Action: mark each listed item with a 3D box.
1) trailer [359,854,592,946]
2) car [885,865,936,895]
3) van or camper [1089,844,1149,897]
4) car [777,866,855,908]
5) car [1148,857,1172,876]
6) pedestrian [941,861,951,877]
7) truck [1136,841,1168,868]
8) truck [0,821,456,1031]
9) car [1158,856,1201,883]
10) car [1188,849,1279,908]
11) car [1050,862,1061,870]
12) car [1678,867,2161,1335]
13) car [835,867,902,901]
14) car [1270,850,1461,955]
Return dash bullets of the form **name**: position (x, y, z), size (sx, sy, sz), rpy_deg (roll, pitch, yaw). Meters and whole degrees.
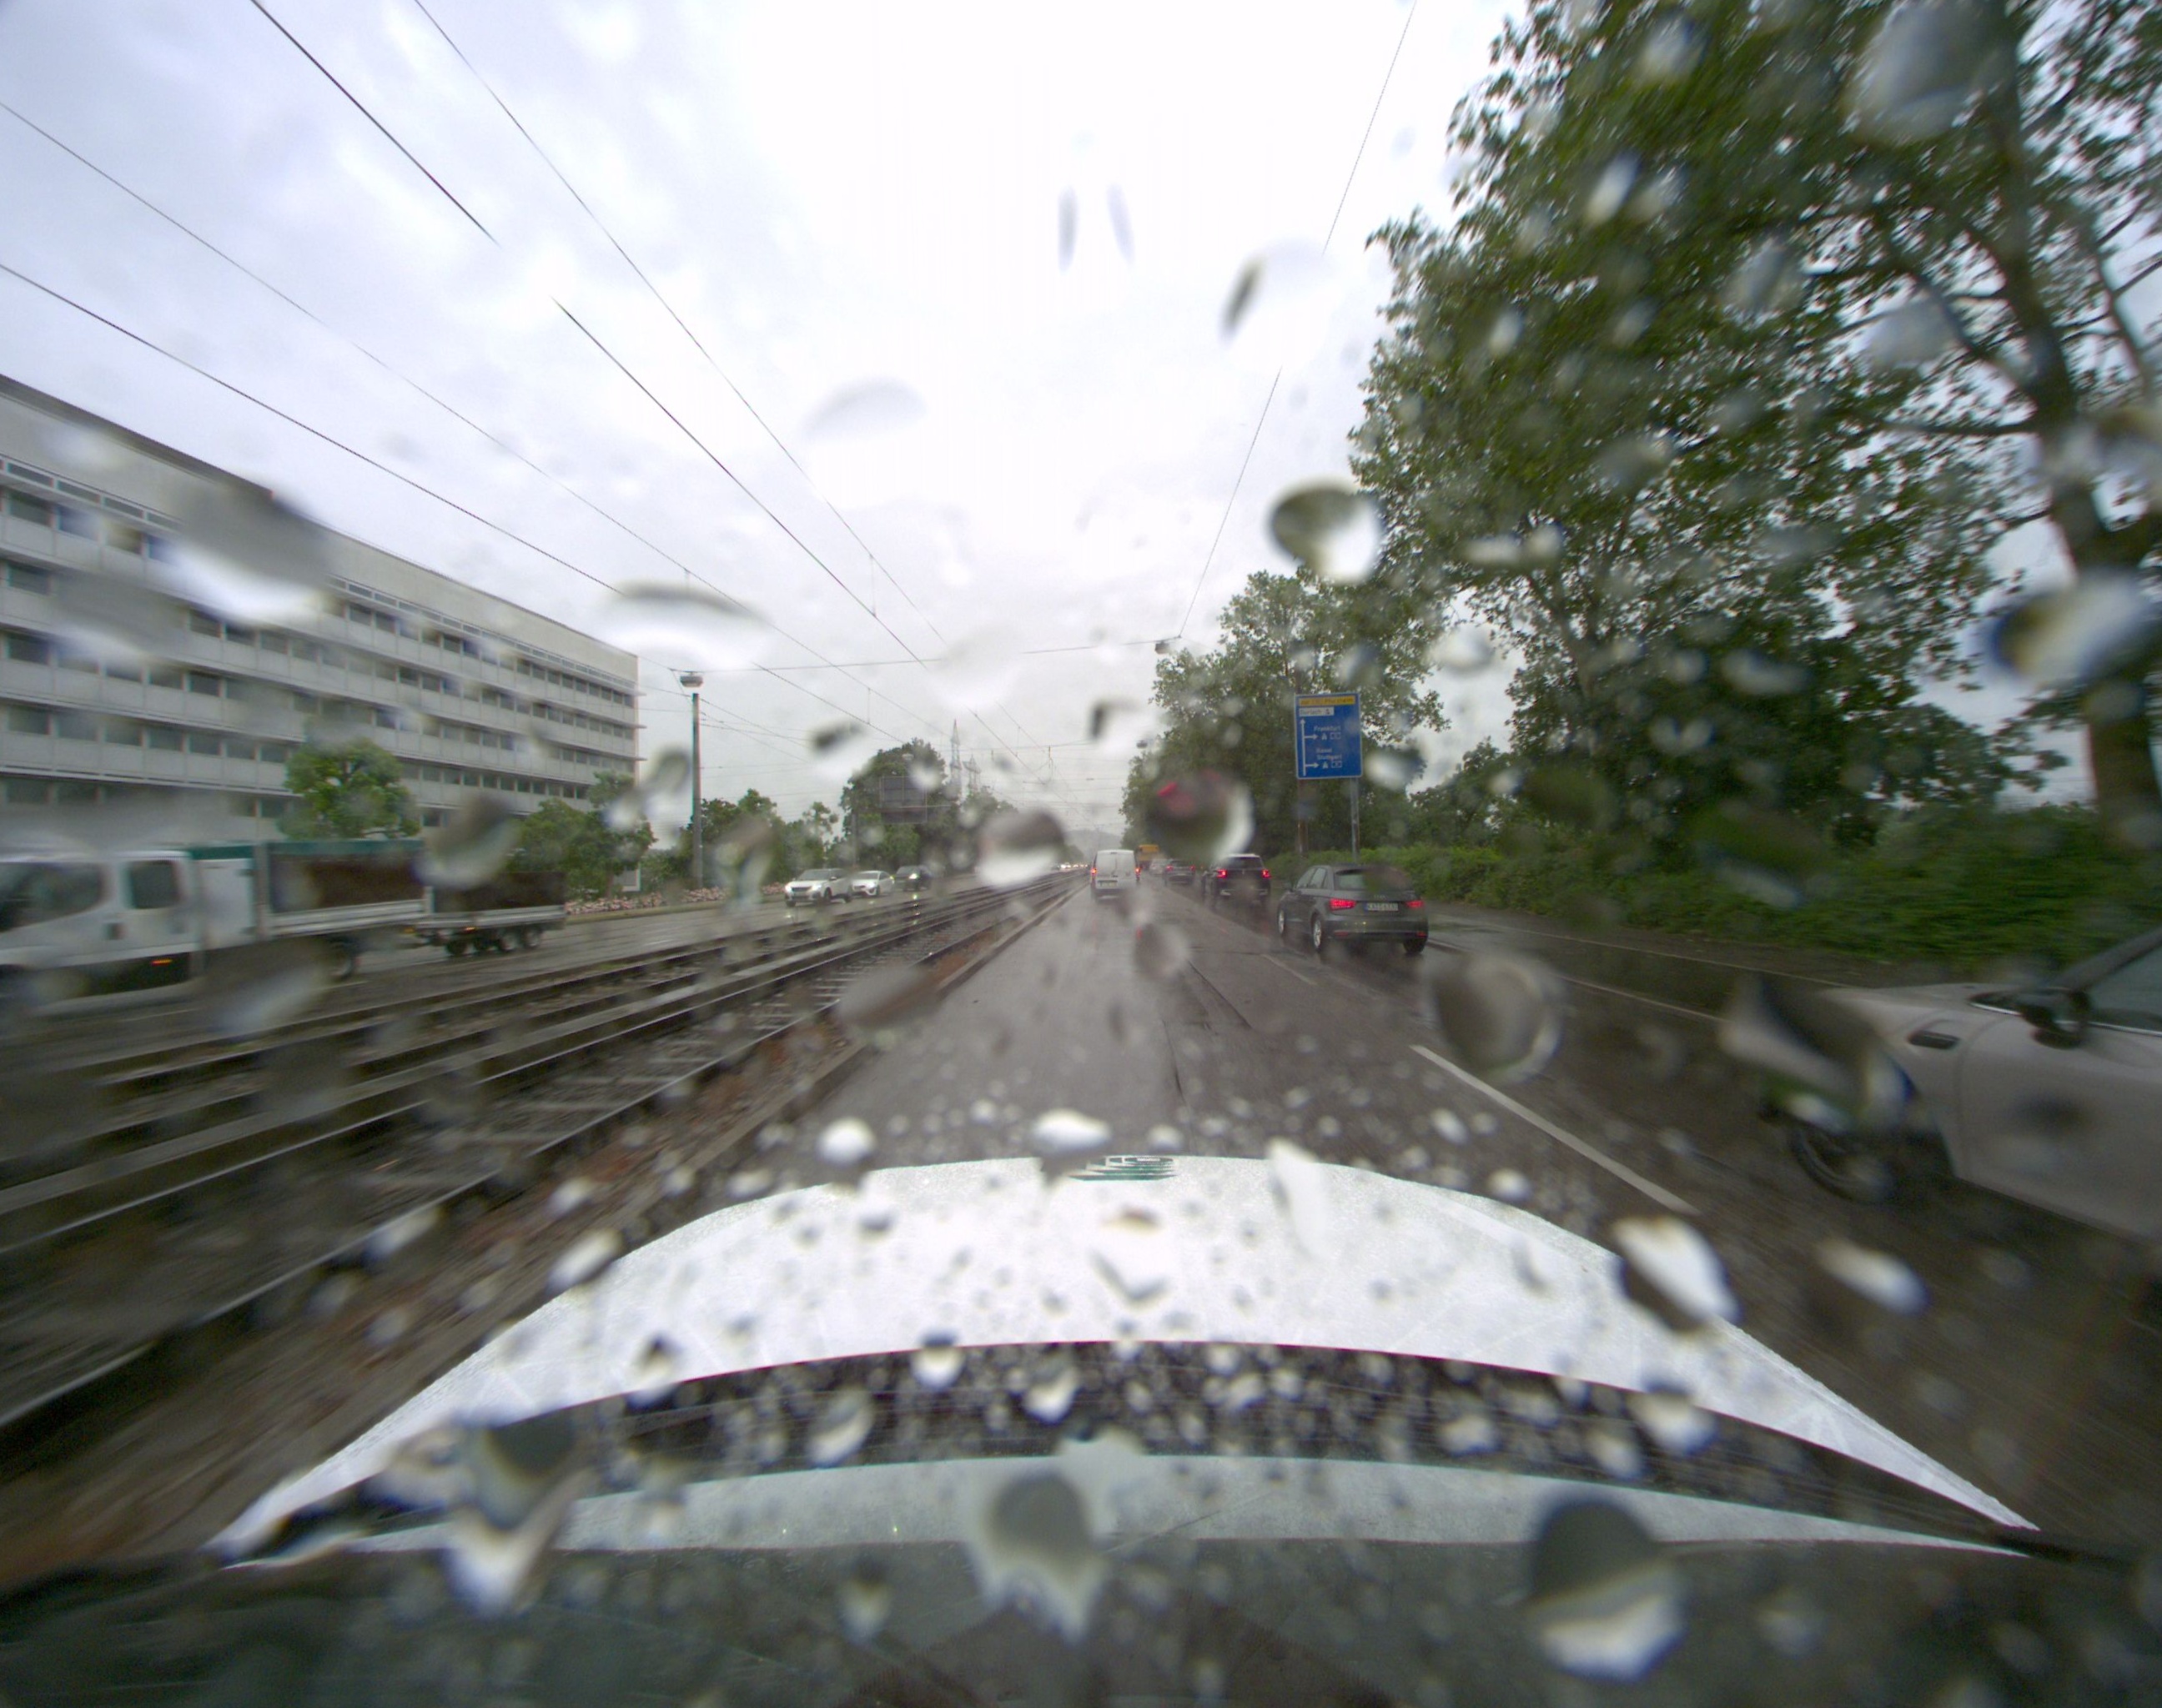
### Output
- **trailer**: position (-13.147, 0.914, 18.036), size (2.110, 1.793, 3.839), rpy_deg (1, 0, 3)
- **car**: position (-11.030, 1.621, 52.948), size (1.985, 1.721, 4.885), rpy_deg (-3, 0, 3)
- **van or camper**: position (1.291, 0.531, 29.344), size (1.987, 1.784, 4.000), rpy_deg (0, 1, 0)
- **car**: position (-11.840, 1.434, 36.712), size (1.764, 1.682, 4.691), rpy_deg (1, 0, 2)
- **car**: position (6.464, 1.011, 66.845), size (1.810, 1.414, 3.782), rpy_deg (0, 0, 3)
- **pedestrian**: position (-15.445, 1.731, 93.059), size (0.848, 1.759, 1.121), rpy_deg (-2, -1, 3)
- **truck**: position (7.637, 0.092, 88.183), size (3.100, 2.773, 6.333), rpy_deg (-1, 0, 2)
- **truck**: position (-13.682, 0.917, 12.311), size (2.424, 2.458, 7.226), rpy_deg (-3, -1, 4)
- **car**: position (5.627, 0.870, 46.729), size (1.814, 1.414, 3.774), rpy_deg (0, 0, -3)
- **car**: position (4.800, 0.720, 26.311), size (1.895, 1.717, 4.721), rpy_deg (0, 0, -2)
- **car**: position (-5.416, 2.528, 173.113), size (1.984, 1.618, 4.258), rpy_deg (-2, 0, 4)
- **car**: position (4.180, 0.772, 2.610), size (1.785, 1.414, 3.854), rpy_deg (1, -1, 1)
- **car**: position (-11.516, 1.599, 44.444), size (1.984, 1.583, 4.772), rpy_deg (-3, 0, 5)
- **car**: position (4.663, 0.703, 14.014), size (1.961, 1.528, 3.992), rpy_deg (0, 0, 1)
